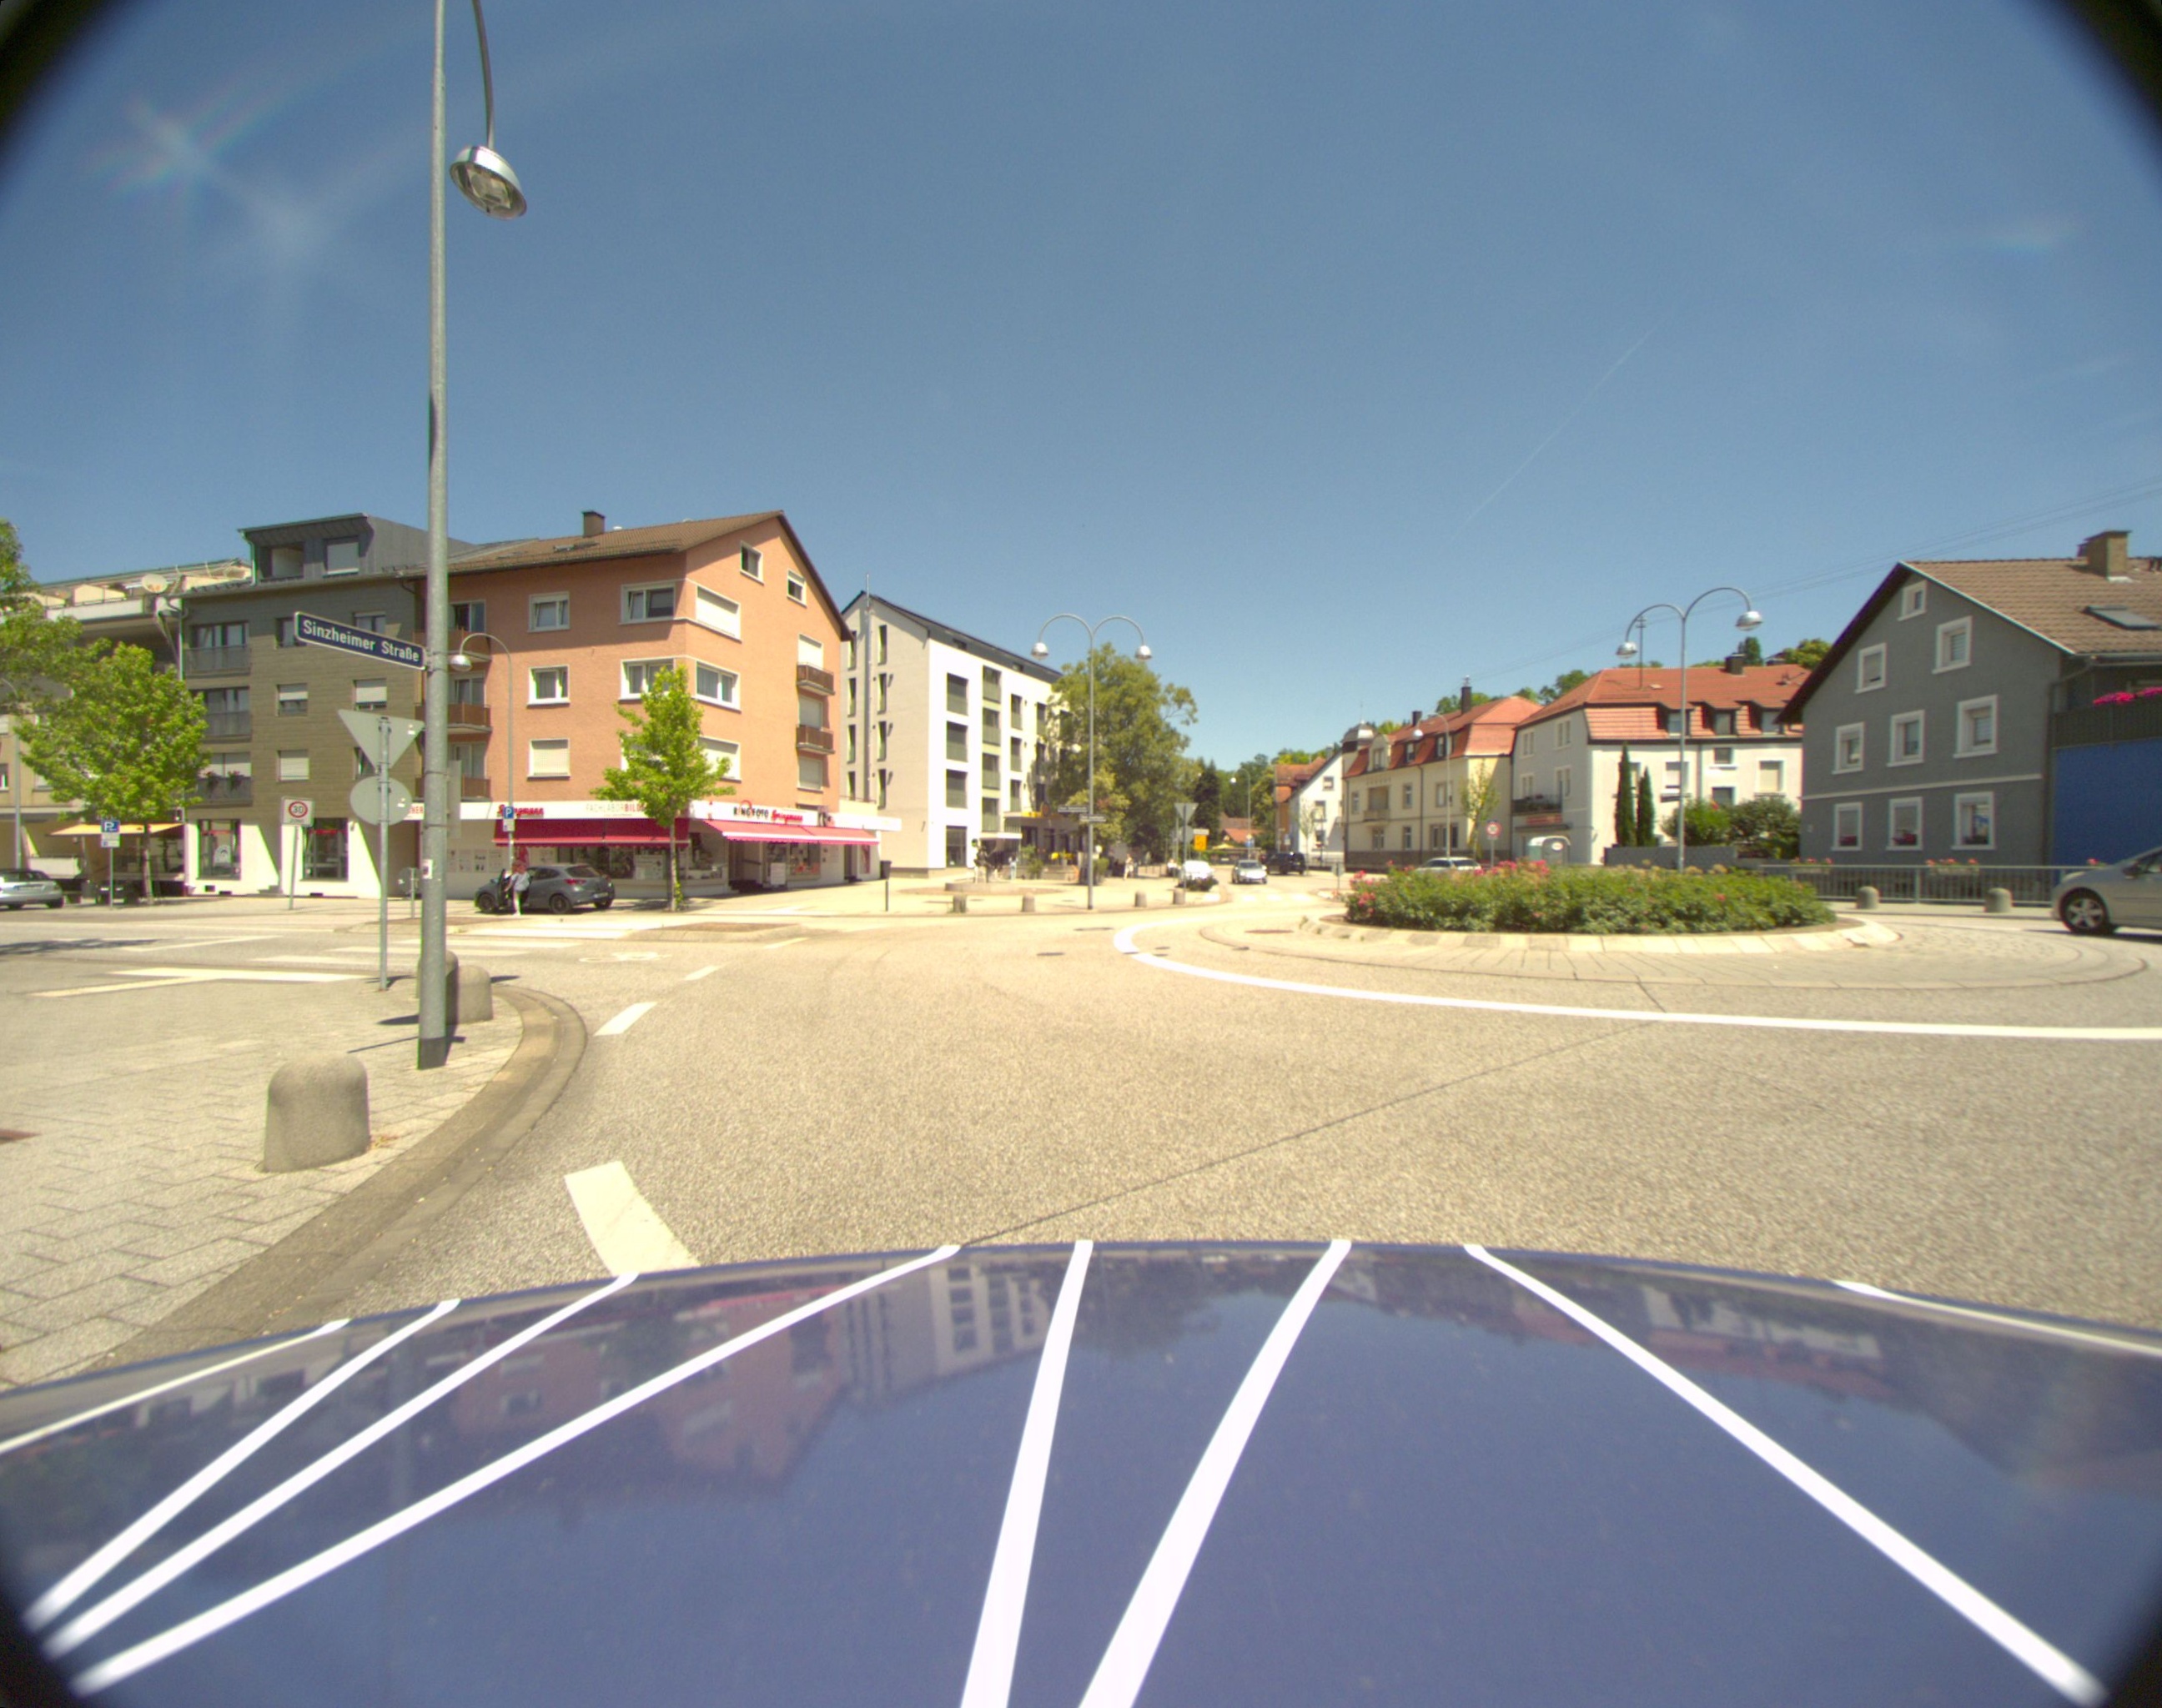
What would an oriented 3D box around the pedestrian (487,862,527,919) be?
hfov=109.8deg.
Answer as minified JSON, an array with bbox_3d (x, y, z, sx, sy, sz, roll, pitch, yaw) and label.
[{"bbox_3d":[-16.612,1.040,21.998,0.559,1.600,0.734,-1,1,0],"label":"pedestrian"}]

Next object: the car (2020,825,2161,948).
[{"bbox_3d":[14.126,0.440,8.952,1.742,1.508,4.212,3,2,18],"label":"car"}]

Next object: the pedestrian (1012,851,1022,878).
[{"bbox_3d":[-3.877,0.651,45.915,0.449,1.609,0.451,-1,1,12],"label":"pedestrian"}]

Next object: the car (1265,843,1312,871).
[{"bbox_3d":[16.542,0.202,60.749,2.000,2.003,3.994,-1,3,-12],"label":"car"}]

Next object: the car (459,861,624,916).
[{"bbox_3d":[-16.430,1.036,23.217,4.054,1.478,1.673,-1,3,11],"label":"car"}]

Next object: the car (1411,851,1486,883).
[{"bbox_3d":[18.335,0.595,38.139,1.608,1.384,4.077,-3,1,-2],"label":"car"}]

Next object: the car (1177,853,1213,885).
[{"bbox_3d":[5.976,0.759,40.112,1.794,1.516,4.002,-1,1,7],"label":"car"}]

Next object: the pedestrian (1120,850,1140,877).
[{"bbox_3d":[3.010,0.572,46.570,0.816,1.639,0.953,0,1,44],"label":"pedestrian"}]

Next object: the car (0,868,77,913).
[{"bbox_3d":[-37.591,1.239,26.624,3.541,1.465,1.628,-1,1,15],"label":"car"}]

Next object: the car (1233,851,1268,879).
[{"bbox_3d":[10.646,0.681,47.655,1.996,1.646,4.207,0,1,13],"label":"car"}]

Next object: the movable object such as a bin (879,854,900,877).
[{"bbox_3d":[-10.460,0.638,41.471,0.746,1.245,0.838,-1,1,16],"label":"movable object such as a bin"}]
